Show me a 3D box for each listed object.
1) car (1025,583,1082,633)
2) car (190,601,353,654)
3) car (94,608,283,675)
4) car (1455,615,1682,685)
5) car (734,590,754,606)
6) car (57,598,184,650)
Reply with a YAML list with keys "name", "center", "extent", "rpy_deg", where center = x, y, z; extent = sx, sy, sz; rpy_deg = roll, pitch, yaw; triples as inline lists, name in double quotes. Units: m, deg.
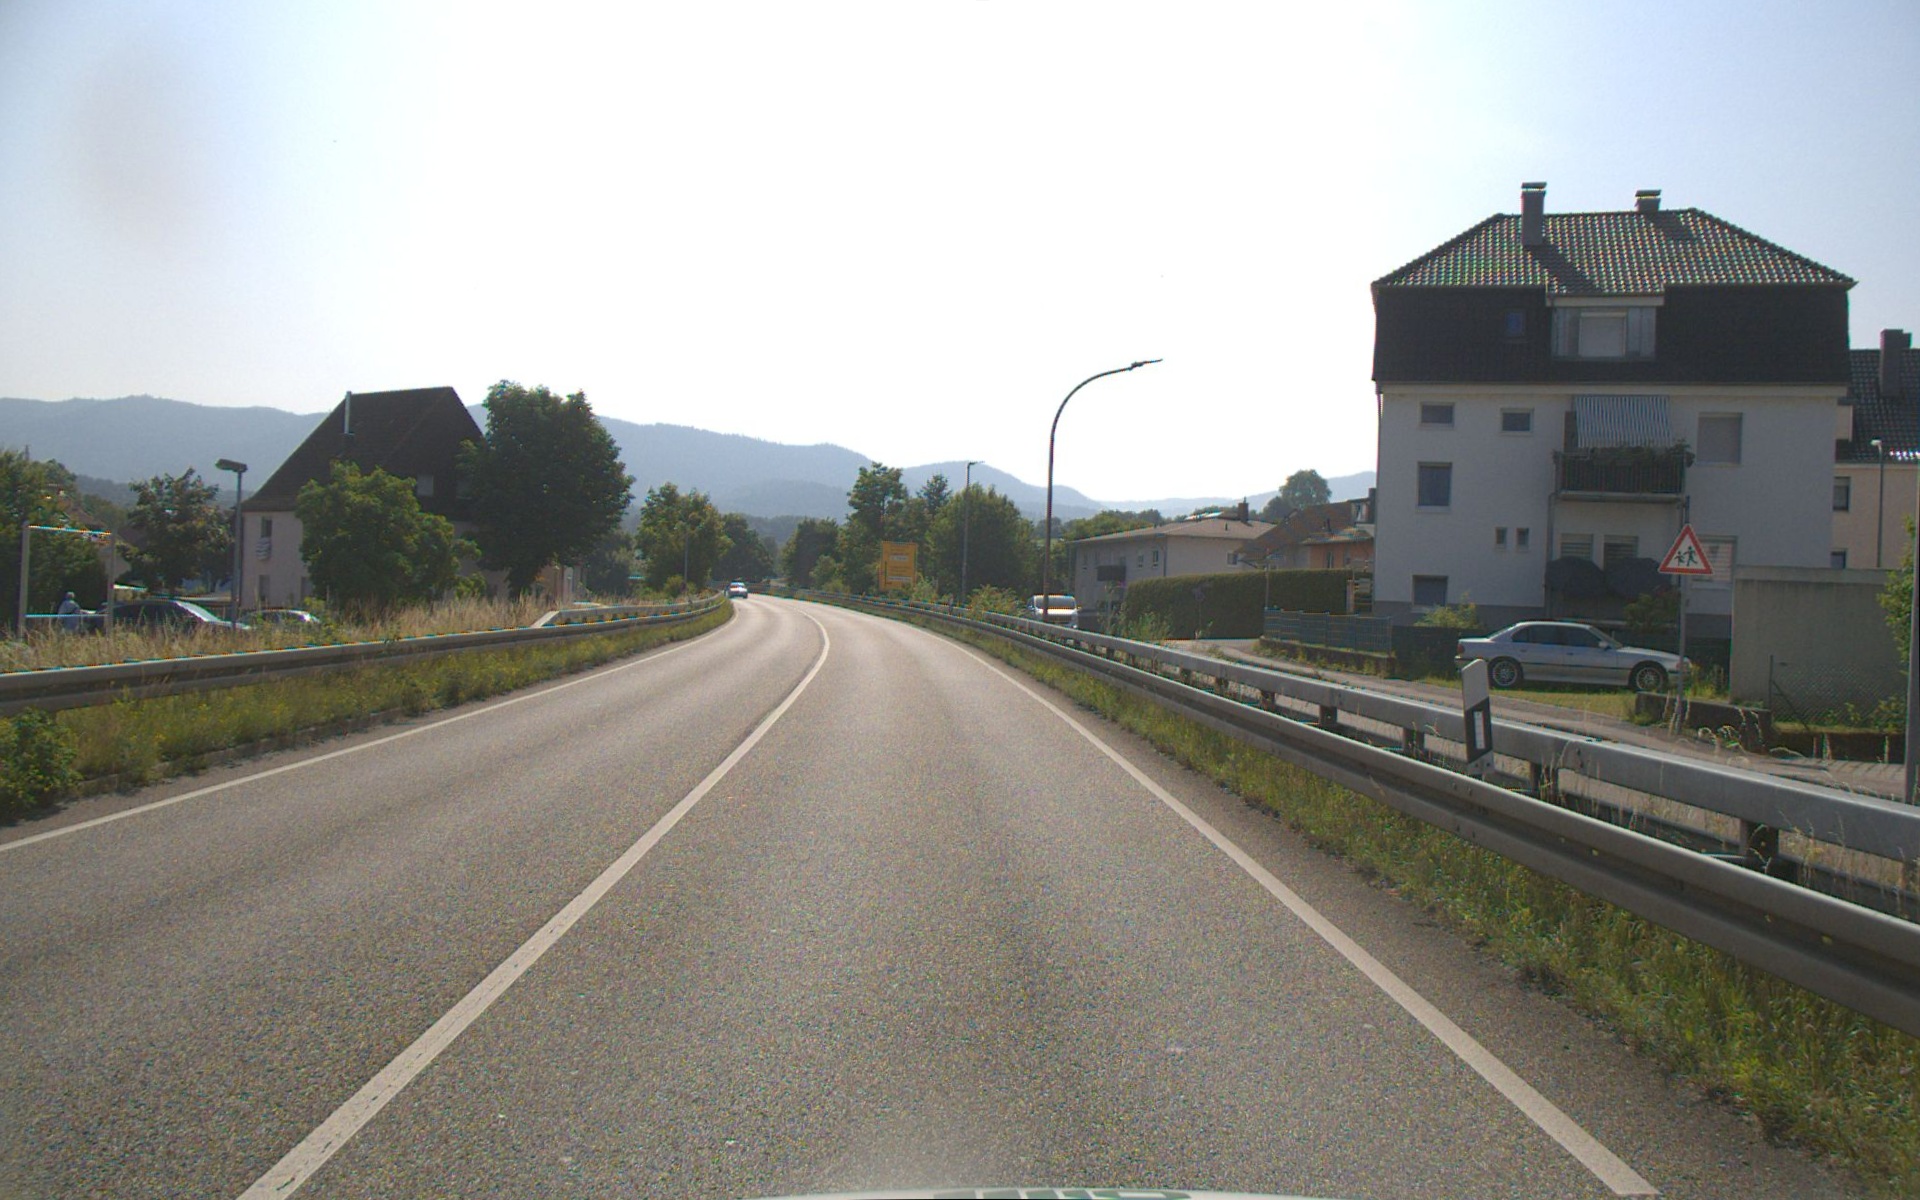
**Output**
- name: "car"
  center: [3.916, 0.310, 70.155]
  extent: [1.953, 1.979, 5.360]
  rpy_deg: [1, 1, -1]
- name: "car"
  center: [-21.212, 0.843, 51.086]
  extent: [4.213, 1.531, 1.873]
  rpy_deg: [1, 0, -2]
- name: "car"
  center: [-20.837, 1.111, 44.818]
  extent: [4.216, 1.694, 1.872]
  rpy_deg: [1, 0, -6]
- name: "car"
  center: [13.161, 1.048, 35.821]
  extent: [4.504, 1.372, 1.754]
  rpy_deg: [0, 1, 25]
- name: "car"
  center: [-19.921, -0.208, 152.661]
  extent: [1.724, 1.435, 3.984]
  rpy_deg: [0, 0, -6]
- name: "car"
  center: [-33.488, 0.963, 66.023]
  extent: [4.071, 1.662, 1.863]
  rpy_deg: [5, -2, 8]
